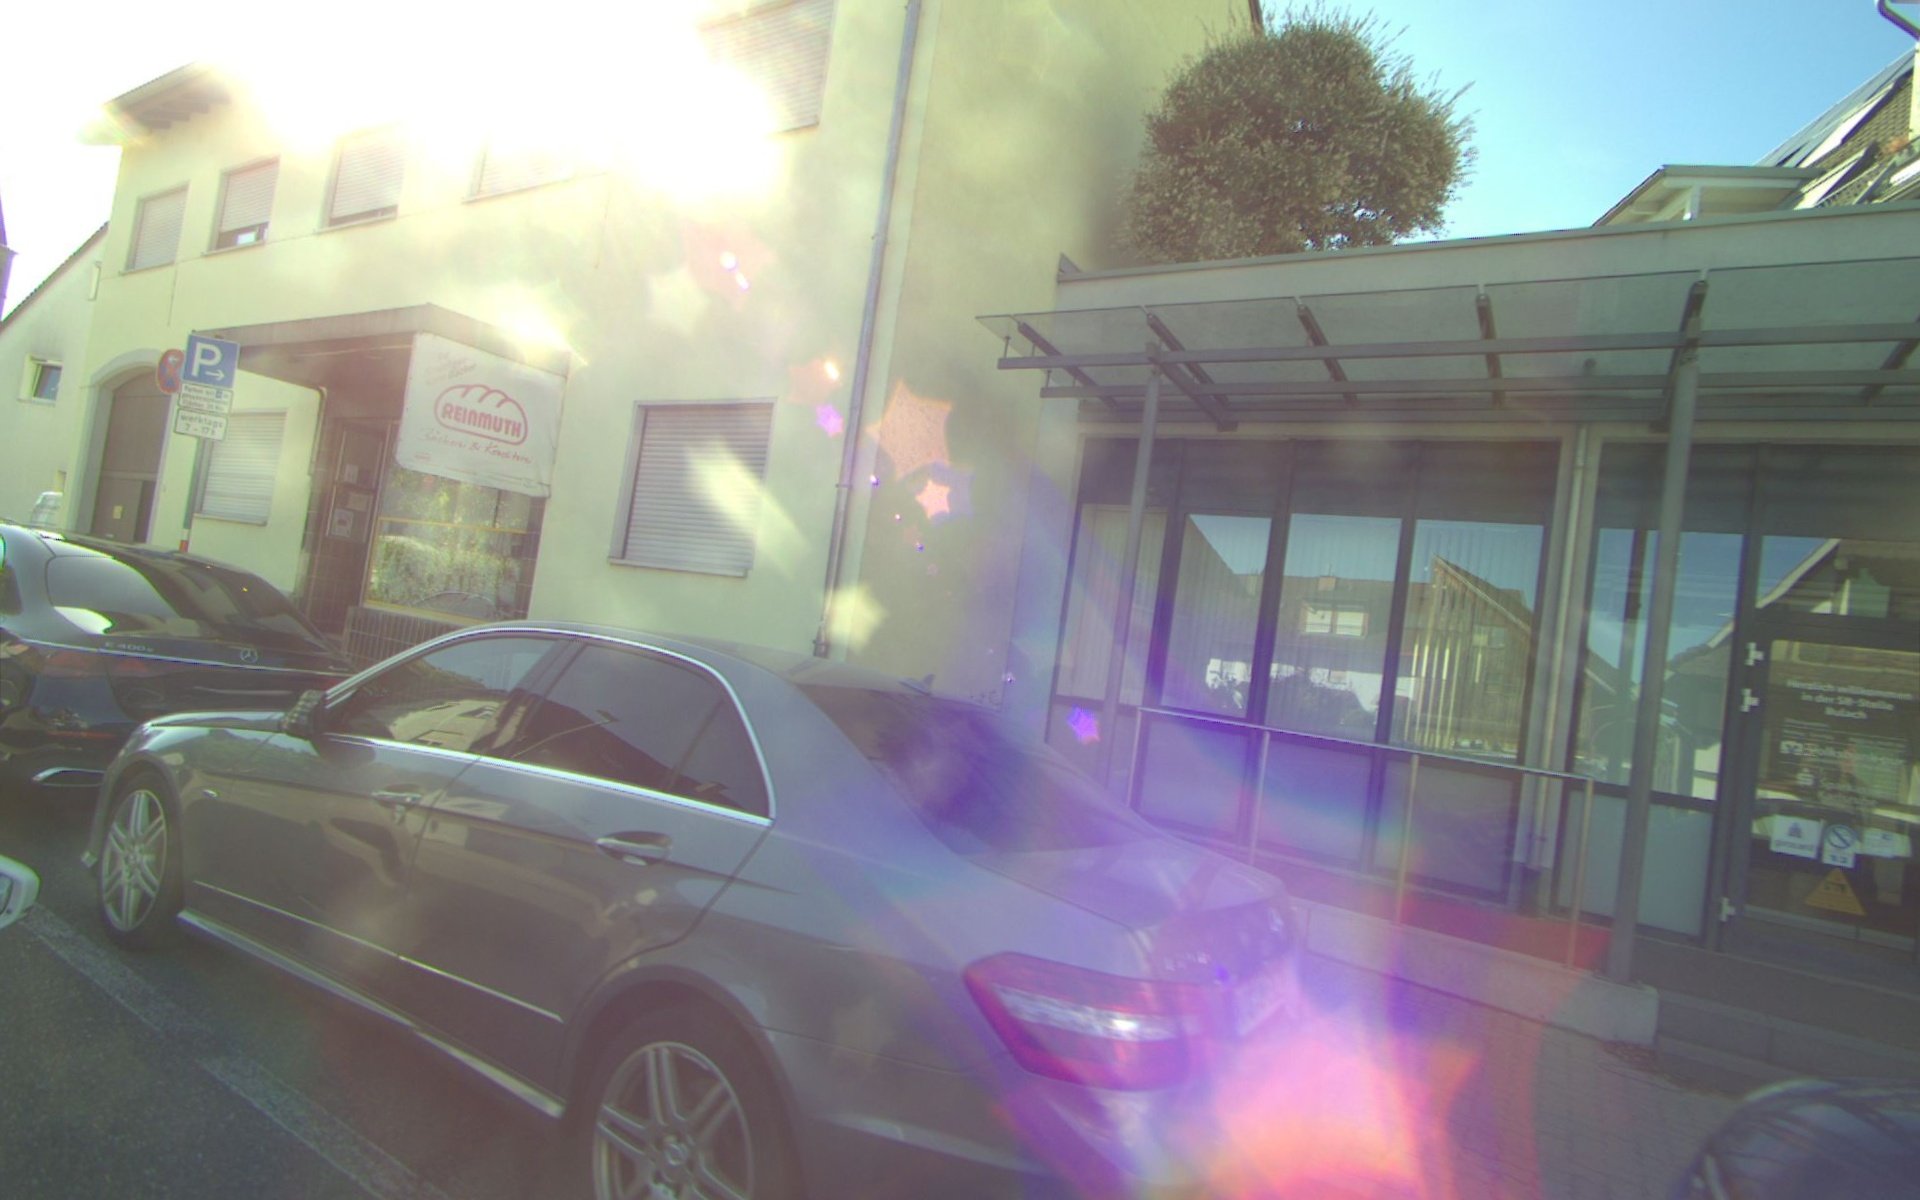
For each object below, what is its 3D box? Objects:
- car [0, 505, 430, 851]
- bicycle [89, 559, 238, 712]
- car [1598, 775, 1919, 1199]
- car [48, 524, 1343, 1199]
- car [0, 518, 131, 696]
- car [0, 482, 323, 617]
[{"bbox_3d":[-5.698,0.276,6.342,4.763,1.490,1.815,6,-5,31],"label":"car"},{"bbox_3d":[-7.150,0.298,9.009,1.483,1.171,0.508,7,-1,34],"label":"bicycle"},{"bbox_3d":[3.102,1.324,1.203,3.811,1.490,1.732,7,-5,32],"label":"car"},{"bbox_3d":[-1.168,0.790,3.610,4.371,1.490,1.815,7,-5,32],"label":"car"},{"bbox_3d":[-10.441,-0.205,10.027,4.765,1.490,1.814,7,-5,33],"label":"car"},{"bbox_3d":[-15.681,-0.887,19.909,1.875,1.908,4.776,7,-1,26],"label":"car"}]
